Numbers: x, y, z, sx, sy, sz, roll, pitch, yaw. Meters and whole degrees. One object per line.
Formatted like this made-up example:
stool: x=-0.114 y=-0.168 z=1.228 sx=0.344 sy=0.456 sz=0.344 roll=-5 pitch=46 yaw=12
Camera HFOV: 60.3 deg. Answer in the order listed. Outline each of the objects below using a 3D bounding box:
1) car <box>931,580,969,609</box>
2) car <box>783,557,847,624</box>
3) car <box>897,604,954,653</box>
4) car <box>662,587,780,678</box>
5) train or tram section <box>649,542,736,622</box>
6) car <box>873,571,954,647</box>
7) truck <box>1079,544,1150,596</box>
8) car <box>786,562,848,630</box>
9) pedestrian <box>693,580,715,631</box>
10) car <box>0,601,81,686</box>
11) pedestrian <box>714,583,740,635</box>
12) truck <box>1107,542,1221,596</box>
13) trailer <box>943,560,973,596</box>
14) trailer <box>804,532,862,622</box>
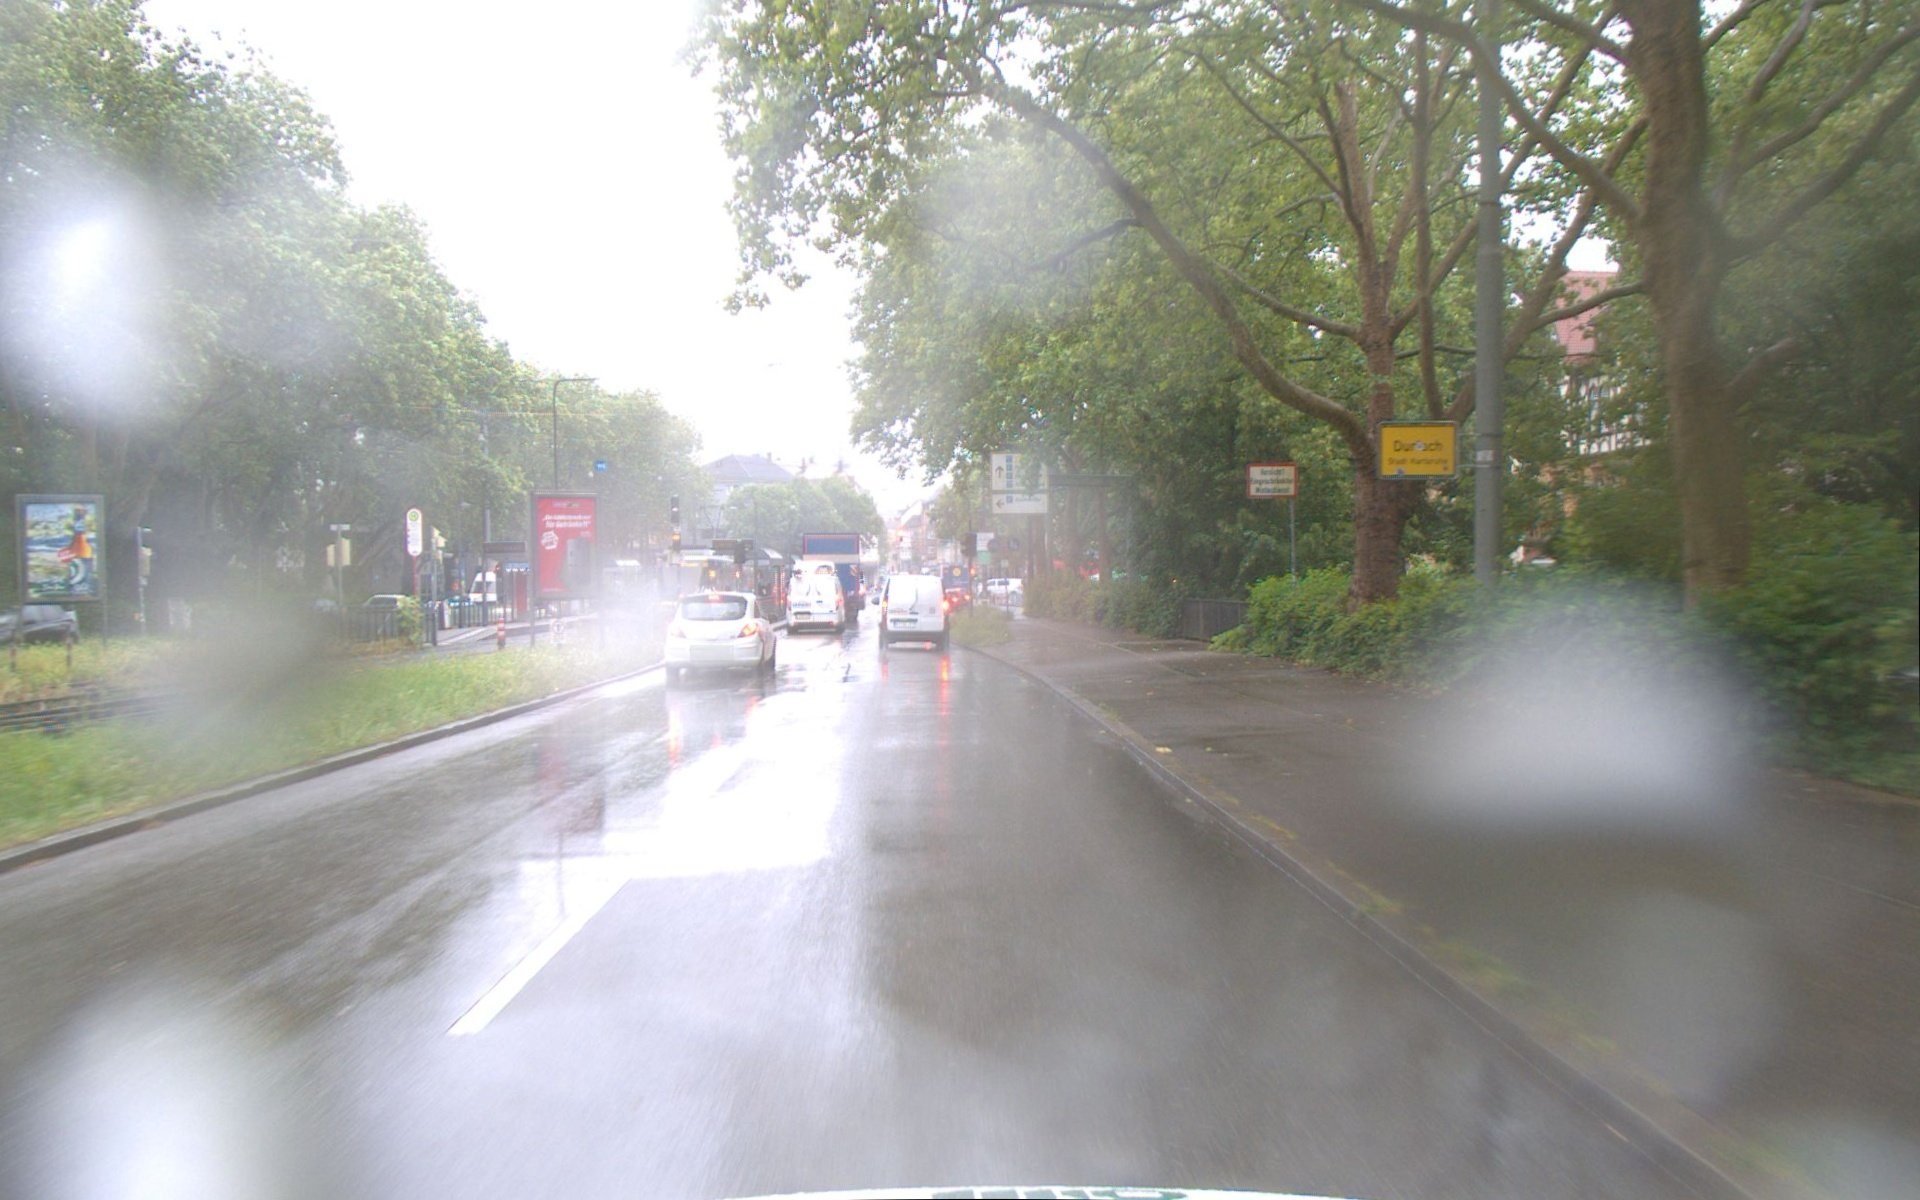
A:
car: x=-0.520 y=-0.299 z=90.669 sx=1.952 sy=1.569 sz=4.001 roll=-1 pitch=0 yaw=2
car: x=-5.853 y=-0.328 z=67.311 sx=2.283 sy=2.602 sz=6.111 roll=0 pitch=-1 yaw=-2
car: x=-1.168 y=0.967 z=56.953 sx=1.869 sy=1.646 sz=3.999 roll=0 pitch=-1 yaw=-1
car: x=-4.160 y=0.563 z=29.290 sx=1.691 sy=1.505 sz=3.803 roll=0 pitch=-1 yaw=-3
train or tram section: x=-11.979 y=-0.866 z=74.827 sx=2.902 sy=3.342 sz=8.355 roll=-2 pitch=1 yaw=-3
car: x=-1.187 y=0.233 z=41.443 sx=1.920 sy=1.808 sz=3.568 roll=0 pitch=-1 yaw=-3
truck: x=15.551 y=-3.013 z=166.657 sx=7.006 sy=4.985 sz=3.291 roll=-2 pitch=1 yaw=5
car: x=-5.032 y=-0.124 z=58.869 sx=1.953 sy=2.302 sz=5.286 roll=0 pitch=-1 yaw=-2
pedestrian: x=-9.122 y=0.193 z=58.903 sx=0.701 sy=1.775 sz=0.750 roll=0 pitch=0 yaw=-3
car: x=-20.262 y=0.906 z=34.329 sx=1.992 sy=1.686 sz=4.272 roll=-2 pitch=0 yaw=-5
pedestrian: x=-7.928 y=0.317 z=56.253 sx=0.774 sy=1.744 sz=0.770 roll=1 pitch=-1 yaw=-3
truck: x=20.466 y=-3.132 z=166.226 sx=11.123 sy=4.985 sz=3.291 roll=-2 pitch=1 yaw=5
trailer: x=-0.168 y=-1.510 z=115.739 sx=1.953 sy=2.357 sz=4.666 roll=0 pitch=-1 yaw=-2
trailer: x=-5.808 y=-1.055 z=76.479 sx=2.539 sy=3.968 sz=7.631 roll=0 pitch=0 yaw=-3
